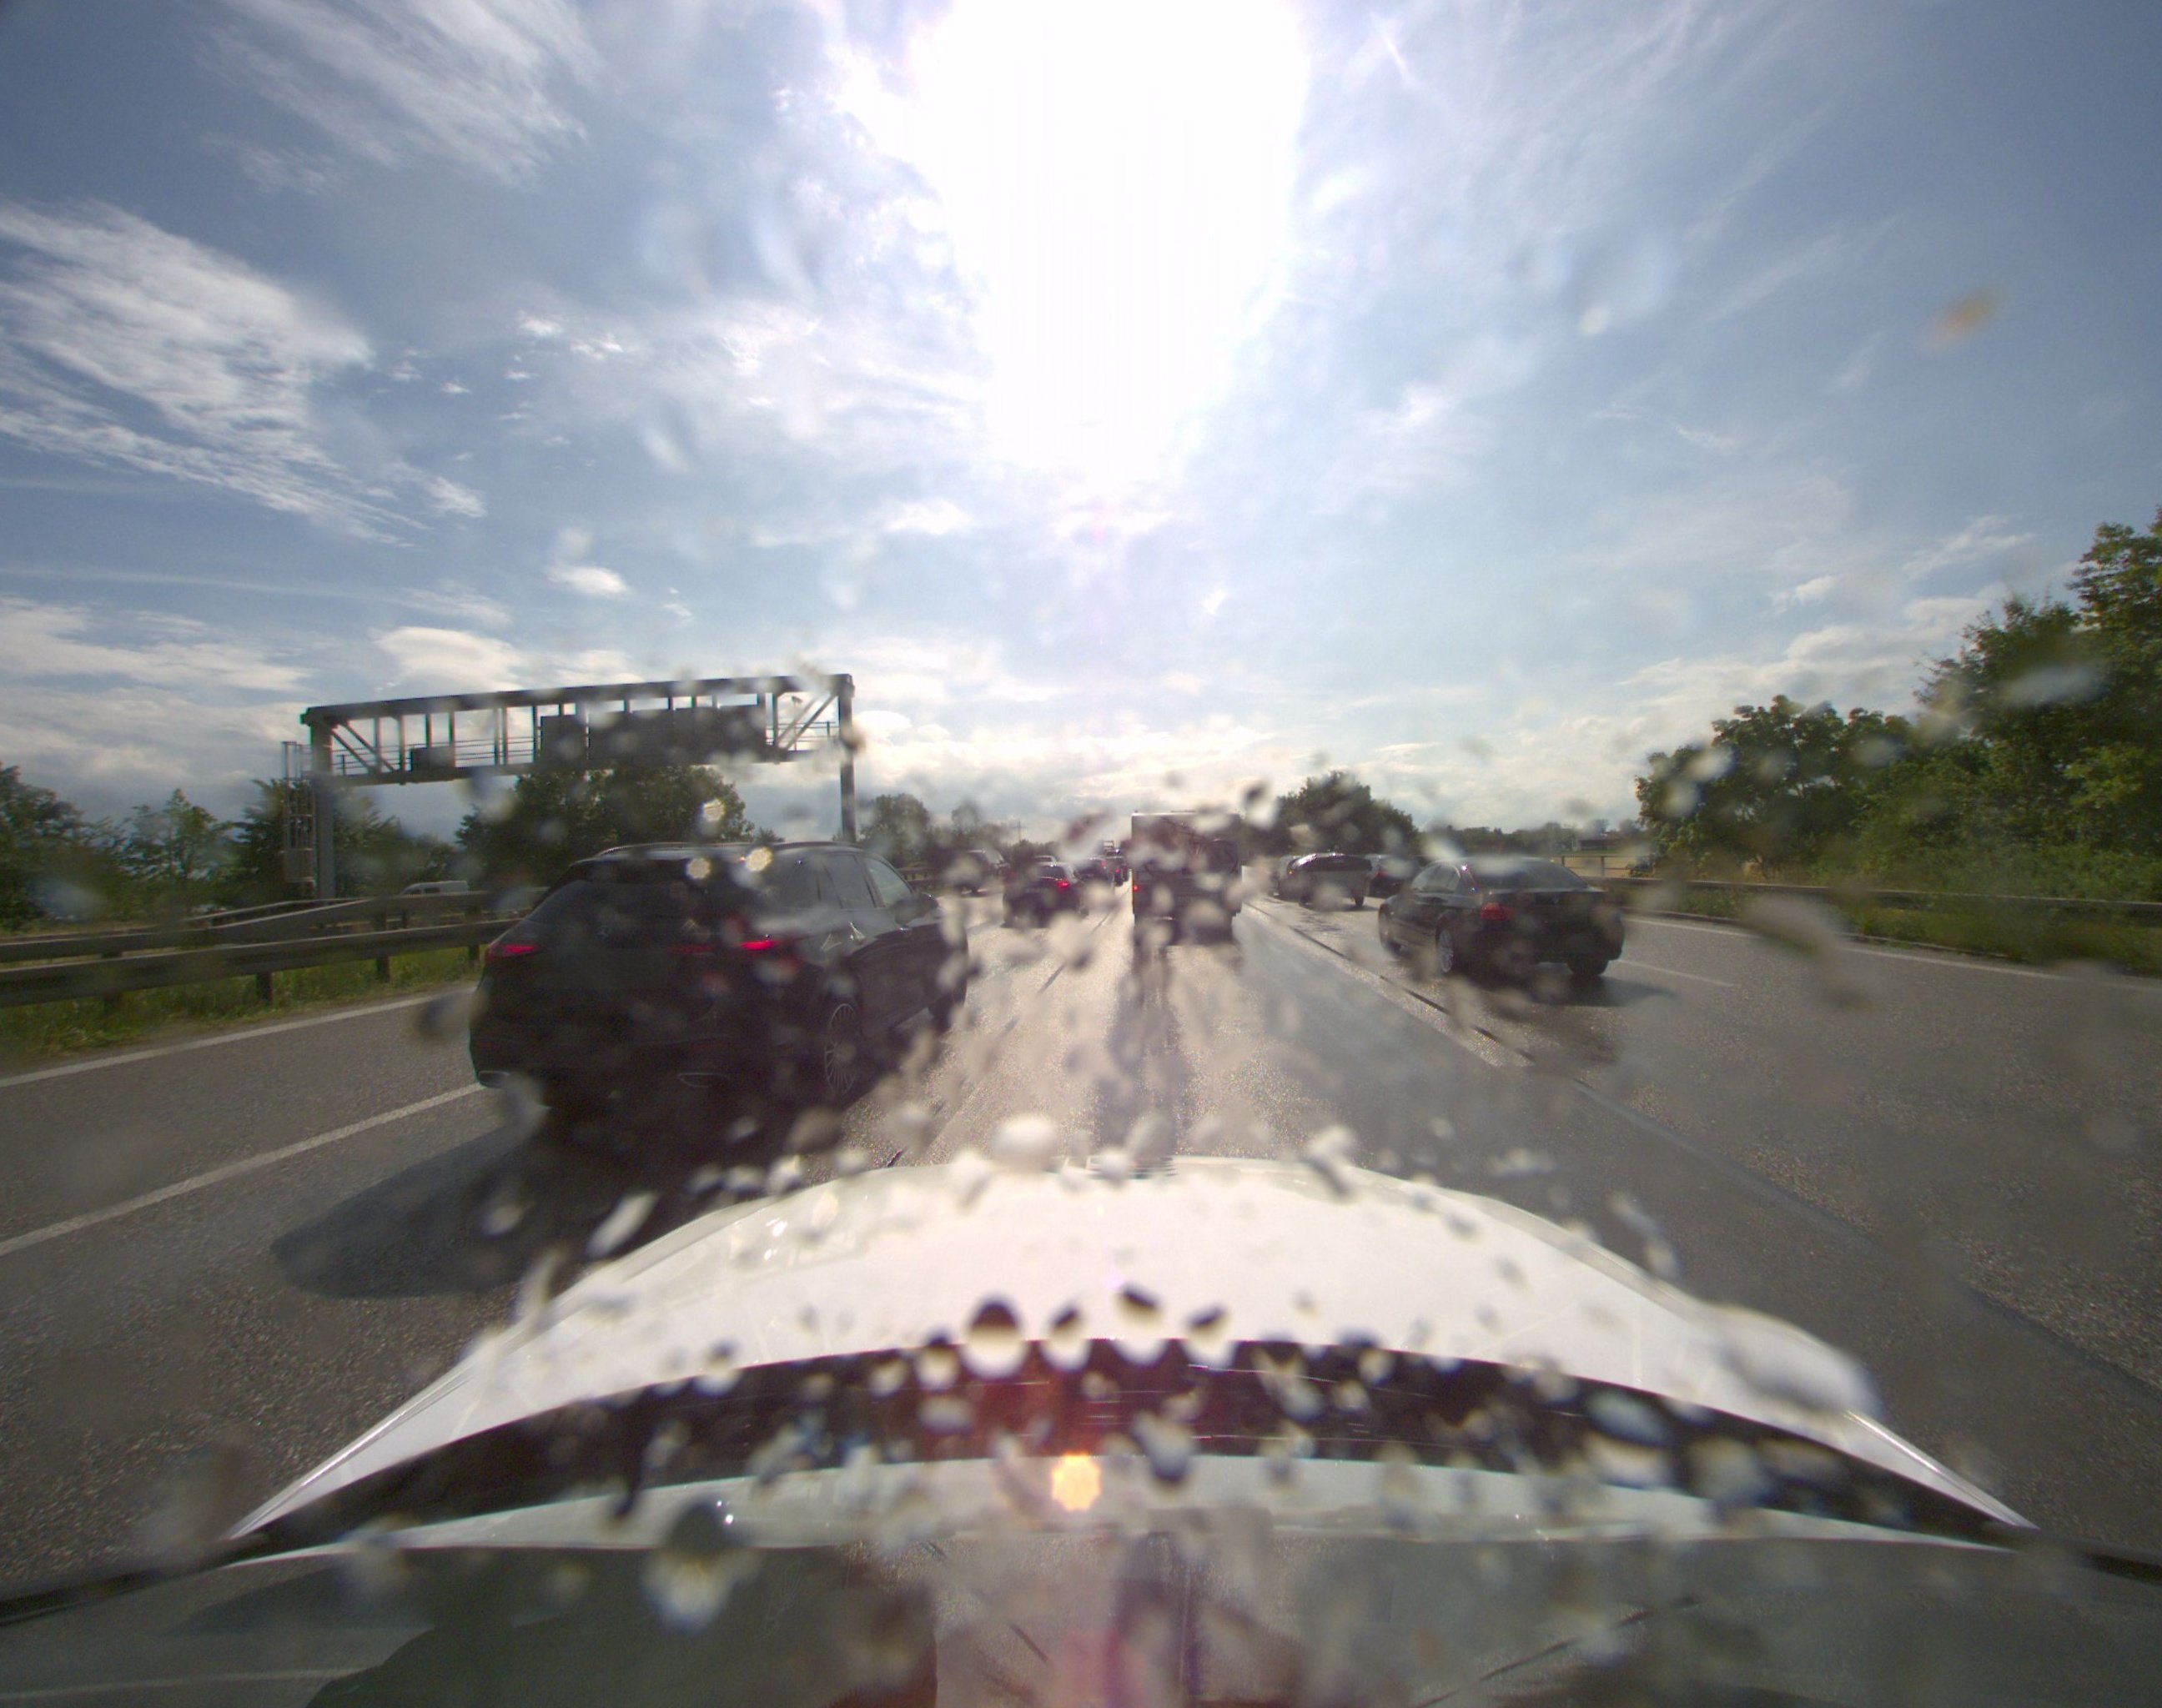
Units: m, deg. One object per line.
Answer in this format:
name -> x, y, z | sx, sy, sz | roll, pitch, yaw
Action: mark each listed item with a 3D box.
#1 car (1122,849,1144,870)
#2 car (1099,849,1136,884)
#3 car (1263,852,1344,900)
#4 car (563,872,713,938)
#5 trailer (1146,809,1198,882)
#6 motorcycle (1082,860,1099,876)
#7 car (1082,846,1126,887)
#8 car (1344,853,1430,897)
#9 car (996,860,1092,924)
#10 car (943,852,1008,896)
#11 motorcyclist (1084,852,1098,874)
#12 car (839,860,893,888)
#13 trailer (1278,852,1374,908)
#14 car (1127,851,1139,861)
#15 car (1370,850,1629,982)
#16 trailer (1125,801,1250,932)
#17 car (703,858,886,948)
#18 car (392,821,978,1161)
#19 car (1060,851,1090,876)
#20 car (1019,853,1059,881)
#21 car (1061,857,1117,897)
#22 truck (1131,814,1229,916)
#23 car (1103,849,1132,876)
car -> 5.343, 0.581, 82.850 | 1.984, 2.013, 4.006 | -2, 0, 6
car -> 2.328, 0.749, 50.717 | 1.984, 2.013, 4.006 | 2, 0, 6
car -> 7.336, 0.695, 27.220 | 1.846, 1.442, 4.264 | -1, 0, 5
car -> -12.629, 1.404, 23.551 | 1.986, 1.623, 4.002 | -1, 0, 2
trailer -> 5.807, -0.482, 51.436 | 2.991, 4.166, 8.553 | -1, 0, 7
motorcycle -> 0.796, 1.106, 64.858 | 1.068, 1.271, 2.694 | -1, 0, 6
car -> 1.262, 0.615, 42.270 | 1.984, 2.014, 4.006 | 0, 0, 6
car -> 10.525, 0.683, 28.329 | 1.762, 1.401, 4.296 | -1, 0, 6
car -> -0.803, 0.859, 20.064 | 1.748, 1.387, 3.951 | -1, 0, 6
car -> -4.382, 0.805, 34.481 | 1.985, 1.720, 4.004 | 0, 0, 4
motorcyclist -> 0.795, 0.702, 64.941 | 1.059, 1.718, 0.786 | -1, -1, 5
car -> -13.892, 1.269, 52.841 | 1.984, 1.687, 4.466 | -1, 0, 4
trailer -> 7.042, 0.701, 23.821 | 1.846, 1.442, 4.153 | -1, 0, 5
car -> 8.745, 0.350, 138.021 | 1.869, 1.760, 4.002 | 0, 0, 2
car -> 5.275, 0.691, 10.877 | 1.732, 1.420, 3.841 | -1, 0, 5
trailer -> 2.315, 0.265, 18.818 | 2.363, 2.483, 6.532 | 0, 0, 5
car -> -5.474, 0.862, 16.209 | 1.748, 1.516, 4.216 | -1, 0, 6
car -> -2.292, 0.700, 6.264 | 1.983, 1.661, 4.413 | -1, -1, 6
car -> -0.469, 0.795, 69.555 | 1.984, 2.013, 4.006 | 2, 0, 6
car -> -2.761, 0.865, 54.408 | 1.984, 1.772, 4.006 | -1, 0, 6
car -> 0.373, 0.836, 30.695 | 1.797, 1.407, 4.006 | 0, 0, 5
truck -> 2.663, 0.287, 22.708 | 2.363, 2.477, 5.764 | 0, 0, 5
car -> 2.902, 0.646, 64.185 | 1.984, 2.014, 4.006 | -1, 0, 6
